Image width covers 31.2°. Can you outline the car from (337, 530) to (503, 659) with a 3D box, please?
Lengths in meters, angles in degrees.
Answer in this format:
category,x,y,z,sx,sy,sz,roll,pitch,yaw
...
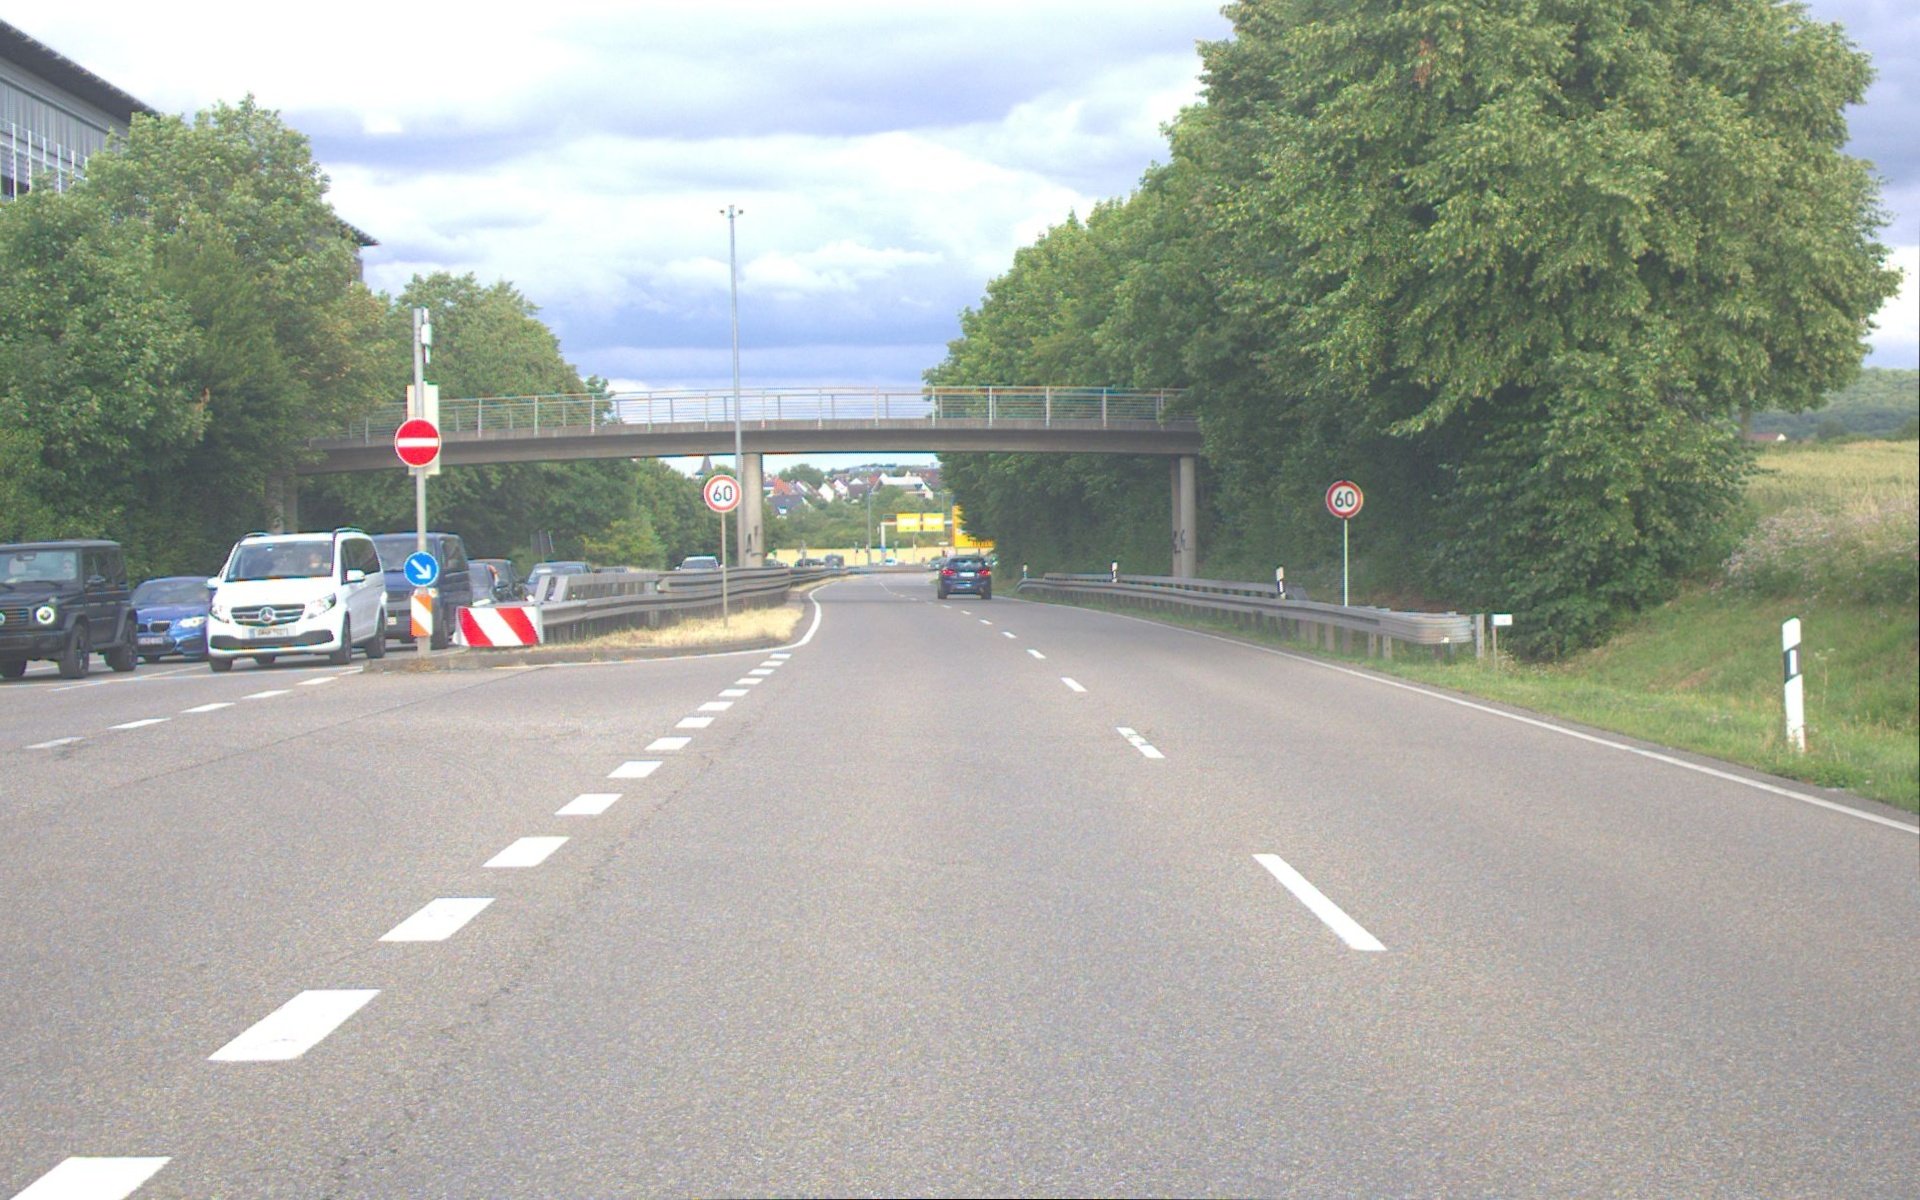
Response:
category,x,y,z,sx,sy,sz,roll,pitch,yaw
car,-8.916,-0.114,57.171,2.083,2.007,5.217,1,1,-2

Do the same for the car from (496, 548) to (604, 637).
category,x,y,z,sx,sy,sz,roll,pitch,yaw
car,-9.763,-0.197,82.150,2.083,2.007,5.217,1,1,-2

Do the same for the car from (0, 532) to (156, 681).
category,x,y,z,sx,sy,sz,roll,pitch,yaw
car,-13.127,0.054,49.324,2.083,2.007,5.217,1,1,-2

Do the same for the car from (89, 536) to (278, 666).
category,x,y,z,sx,sy,sz,roll,pitch,yaw
car,-12.760,-0.011,56.825,2.083,2.007,5.217,1,1,-2

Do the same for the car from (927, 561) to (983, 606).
category,x,y,z,sx,sy,sz,roll,pitch,yaw
car,-0.186,-0.584,121.769,1.879,1.547,4.000,1,1,-1

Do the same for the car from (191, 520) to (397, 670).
category,x,y,z,sx,sy,sz,roll,pitch,yaw
car,-9.493,-0.094,49.434,2.083,2.007,5.217,1,1,-2
